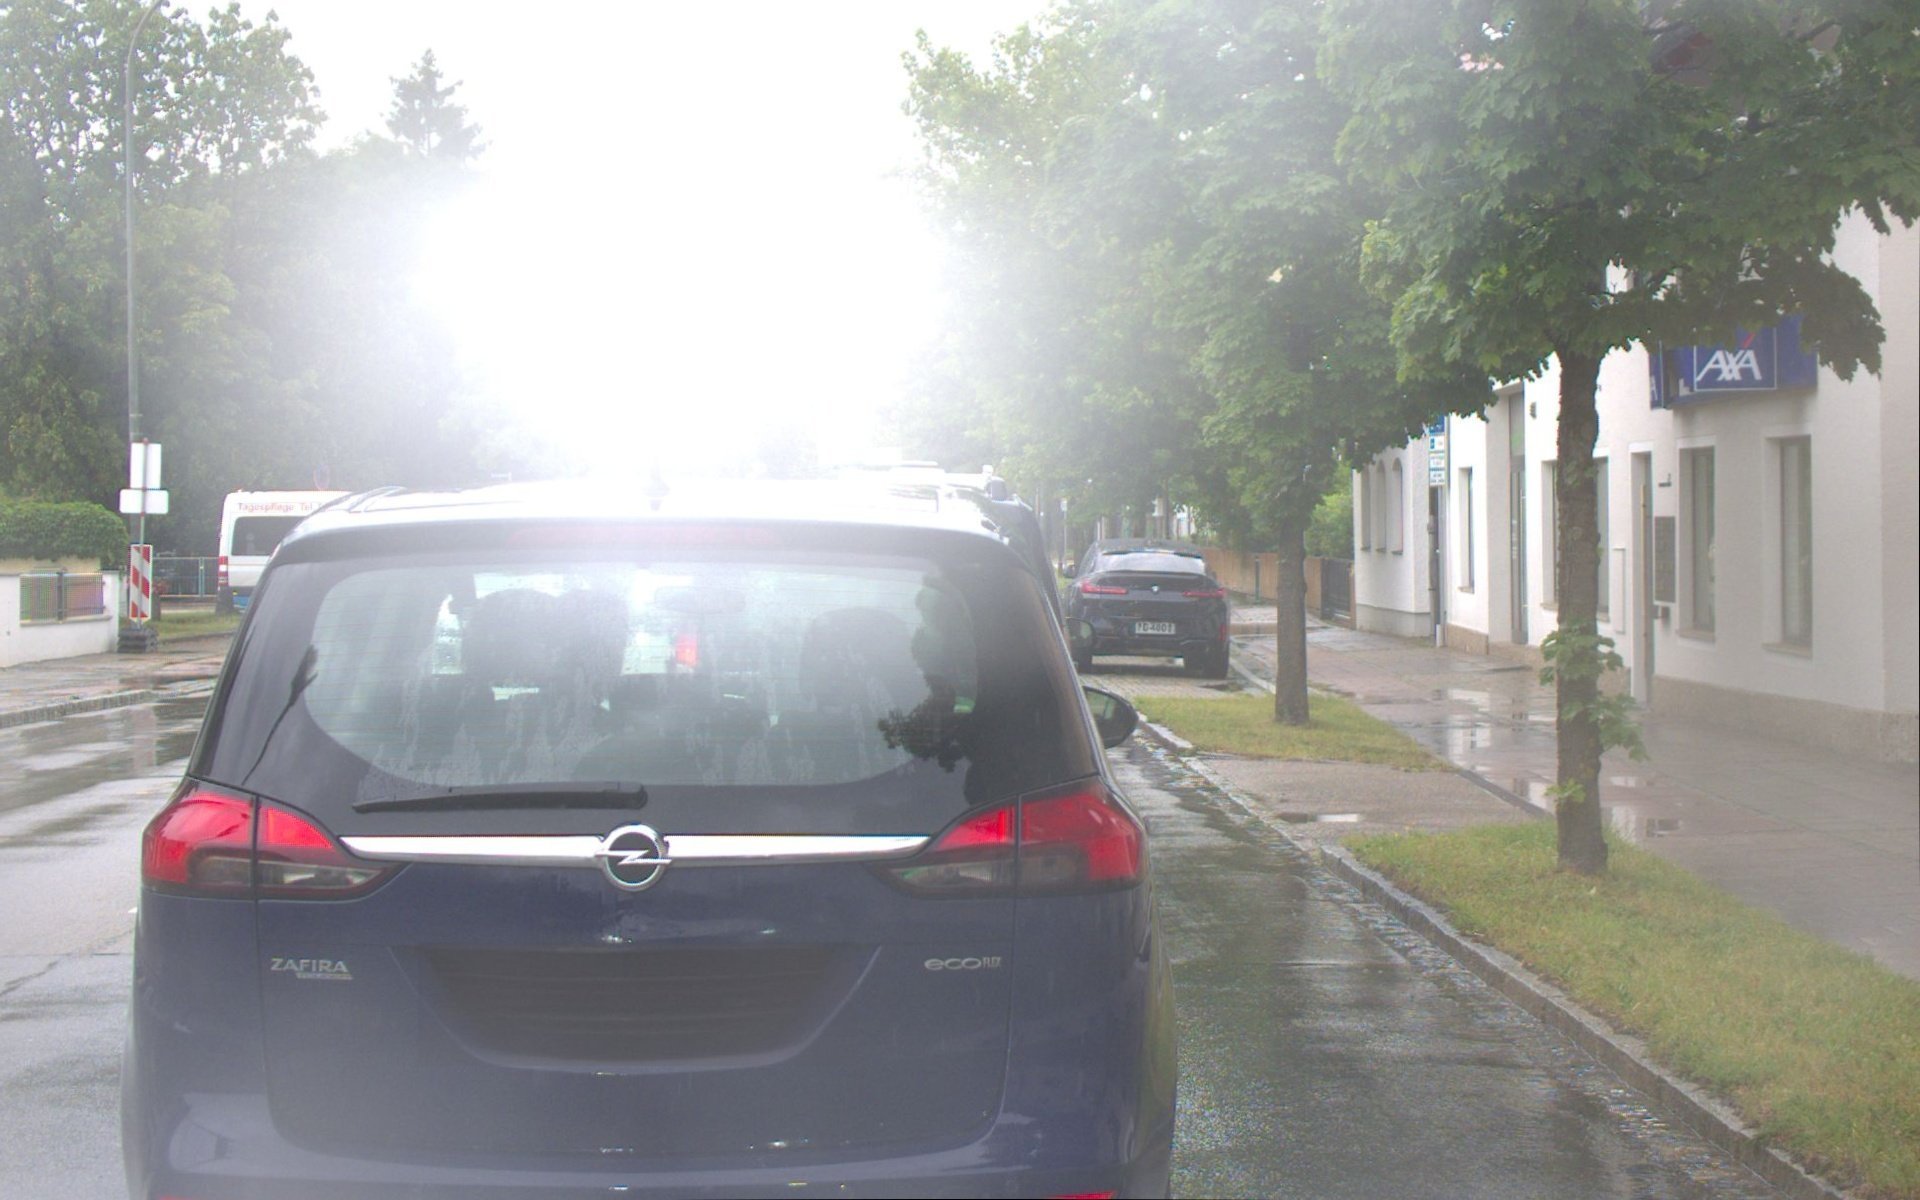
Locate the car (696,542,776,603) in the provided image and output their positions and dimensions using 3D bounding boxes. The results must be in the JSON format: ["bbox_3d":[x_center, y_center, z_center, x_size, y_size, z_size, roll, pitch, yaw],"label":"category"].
[{"bbox_3d":[-5.901,-0.747,90.853,1.752,1.506,4.230,-2,1,0],"label":"car"}]

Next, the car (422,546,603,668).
[{"bbox_3d":[-6.122,0.058,47.421,1.967,1.557,4.152,-1,1,-1],"label":"car"}]

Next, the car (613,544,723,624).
[{"bbox_3d":[-5.899,-0.352,69.859,1.926,1.561,4.126,-1,1,-1],"label":"car"}]

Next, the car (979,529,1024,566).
[{"bbox_3d":[1.566,-1.987,130.756,1.630,1.373,3.623,1,0,-1],"label":"car"}]

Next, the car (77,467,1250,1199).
[{"bbox_3d":[-0.476,0.581,7.078,1.768,1.599,3.663,1,1,-1],"label":"car"}]

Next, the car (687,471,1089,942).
[{"bbox_3d":[-0.292,0.380,14.662,1.500,1.770,3.112,1,1,-1],"label":"car"}]

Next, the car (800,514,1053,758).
[{"bbox_3d":[-0.250,0.219,25.914,1.756,1.700,3.619,-1,1,-1],"label":"car"}]

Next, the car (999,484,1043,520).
[{"bbox_3d":[2.475,-3.985,140.007,1.630,1.373,3.623,-1,1,-1],"label":"car"}]

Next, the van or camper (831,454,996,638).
[{"bbox_3d":[-0.701,-0.831,52.622,2.360,2.656,5.372,-1,1,-1],"label":"van or camper"}]

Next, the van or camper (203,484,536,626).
[{"bbox_3d":[-11.484,-0.893,67.260,6.247,2.698,2.101,-1,1,-5],"label":"van or camper"}]

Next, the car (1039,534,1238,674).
[{"bbox_3d":[2.122,0.025,41.963,2.117,1.576,3.936,1,1,-1],"label":"car"}]
